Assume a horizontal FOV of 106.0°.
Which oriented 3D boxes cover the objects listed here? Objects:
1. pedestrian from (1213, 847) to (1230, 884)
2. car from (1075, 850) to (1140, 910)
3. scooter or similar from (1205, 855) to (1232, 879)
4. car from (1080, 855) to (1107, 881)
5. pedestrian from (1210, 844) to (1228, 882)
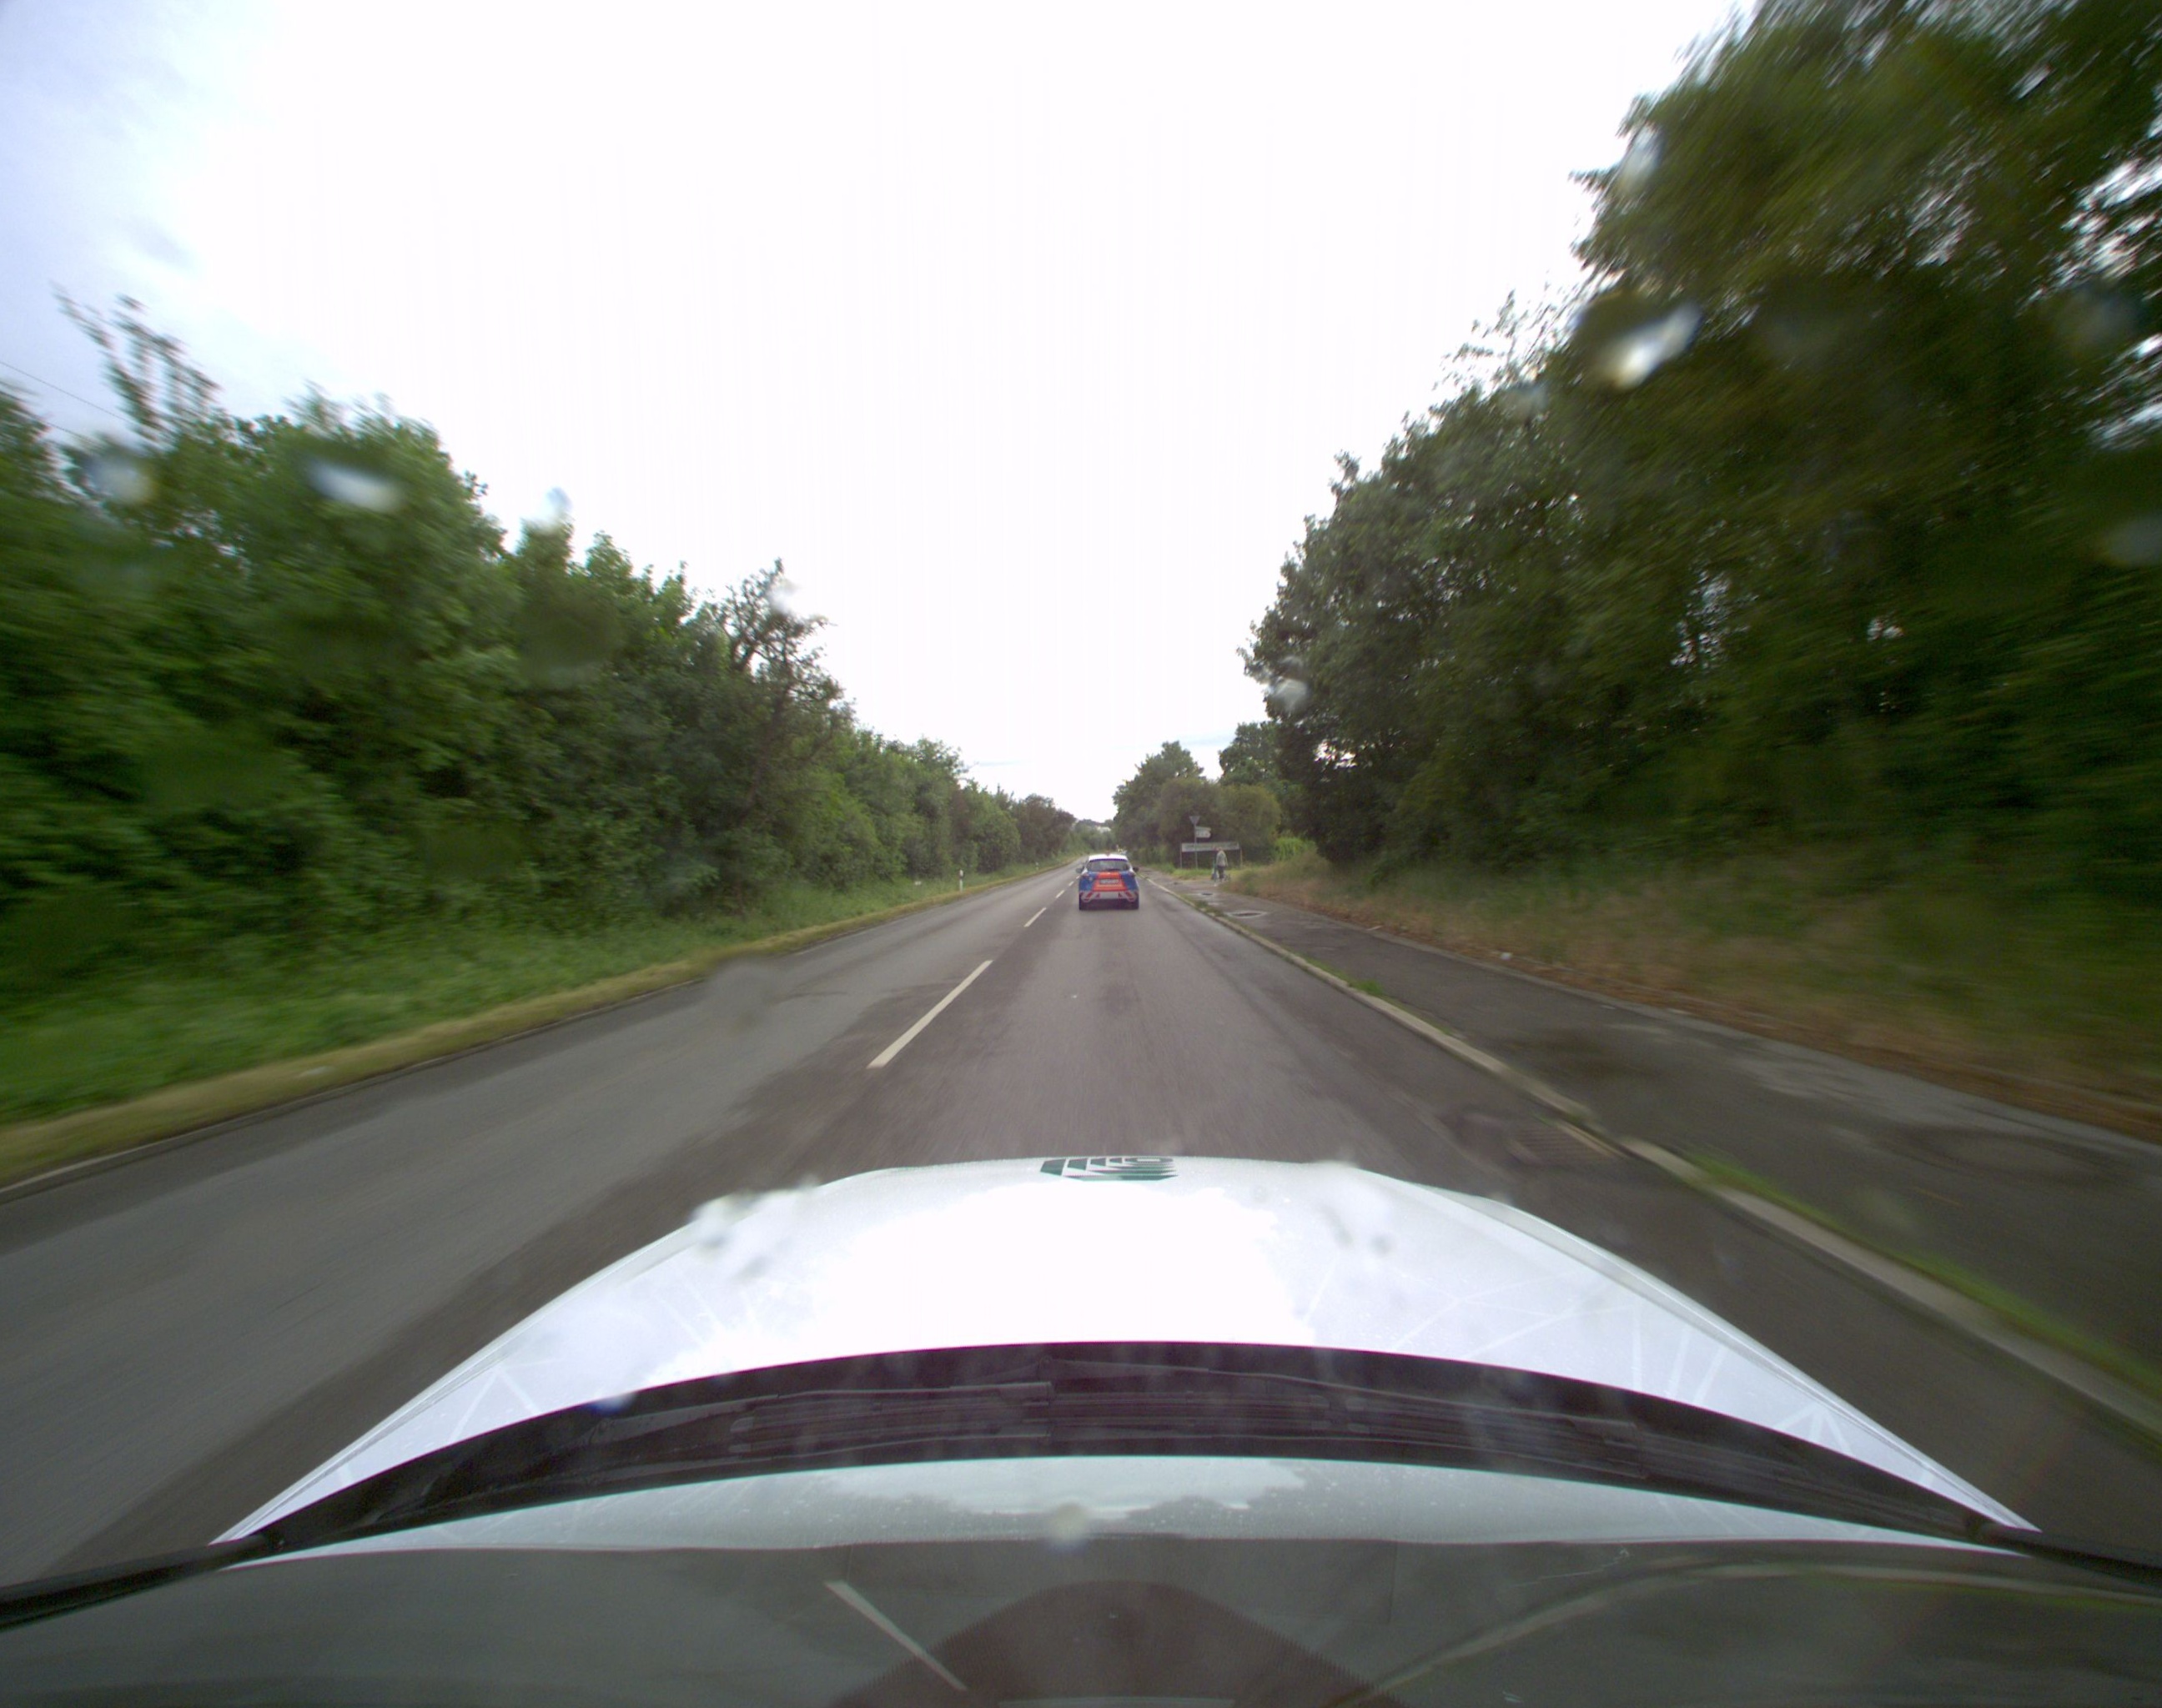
[{"bbox_3d":[6.909,0.550,40.007,0.658,1.778,0.760,-3,-1,1],"label":"pedestrian"},{"bbox_3d":[0.775,0.727,24.314,1.799,1.668,3.856,0,0,1],"label":"car"},{"bbox_3d":[7.098,0.663,42.027,1.310,1.206,0.376,-3,-1,42],"label":"scooter or similar"},{"bbox_3d":[0.788,0.889,51.935,1.688,1.595,3.856,0,0,1],"label":"car"},{"bbox_3d":[6.944,0.456,40.985,0.690,1.827,0.801,-3,-1,1],"label":"pedestrian"}]
